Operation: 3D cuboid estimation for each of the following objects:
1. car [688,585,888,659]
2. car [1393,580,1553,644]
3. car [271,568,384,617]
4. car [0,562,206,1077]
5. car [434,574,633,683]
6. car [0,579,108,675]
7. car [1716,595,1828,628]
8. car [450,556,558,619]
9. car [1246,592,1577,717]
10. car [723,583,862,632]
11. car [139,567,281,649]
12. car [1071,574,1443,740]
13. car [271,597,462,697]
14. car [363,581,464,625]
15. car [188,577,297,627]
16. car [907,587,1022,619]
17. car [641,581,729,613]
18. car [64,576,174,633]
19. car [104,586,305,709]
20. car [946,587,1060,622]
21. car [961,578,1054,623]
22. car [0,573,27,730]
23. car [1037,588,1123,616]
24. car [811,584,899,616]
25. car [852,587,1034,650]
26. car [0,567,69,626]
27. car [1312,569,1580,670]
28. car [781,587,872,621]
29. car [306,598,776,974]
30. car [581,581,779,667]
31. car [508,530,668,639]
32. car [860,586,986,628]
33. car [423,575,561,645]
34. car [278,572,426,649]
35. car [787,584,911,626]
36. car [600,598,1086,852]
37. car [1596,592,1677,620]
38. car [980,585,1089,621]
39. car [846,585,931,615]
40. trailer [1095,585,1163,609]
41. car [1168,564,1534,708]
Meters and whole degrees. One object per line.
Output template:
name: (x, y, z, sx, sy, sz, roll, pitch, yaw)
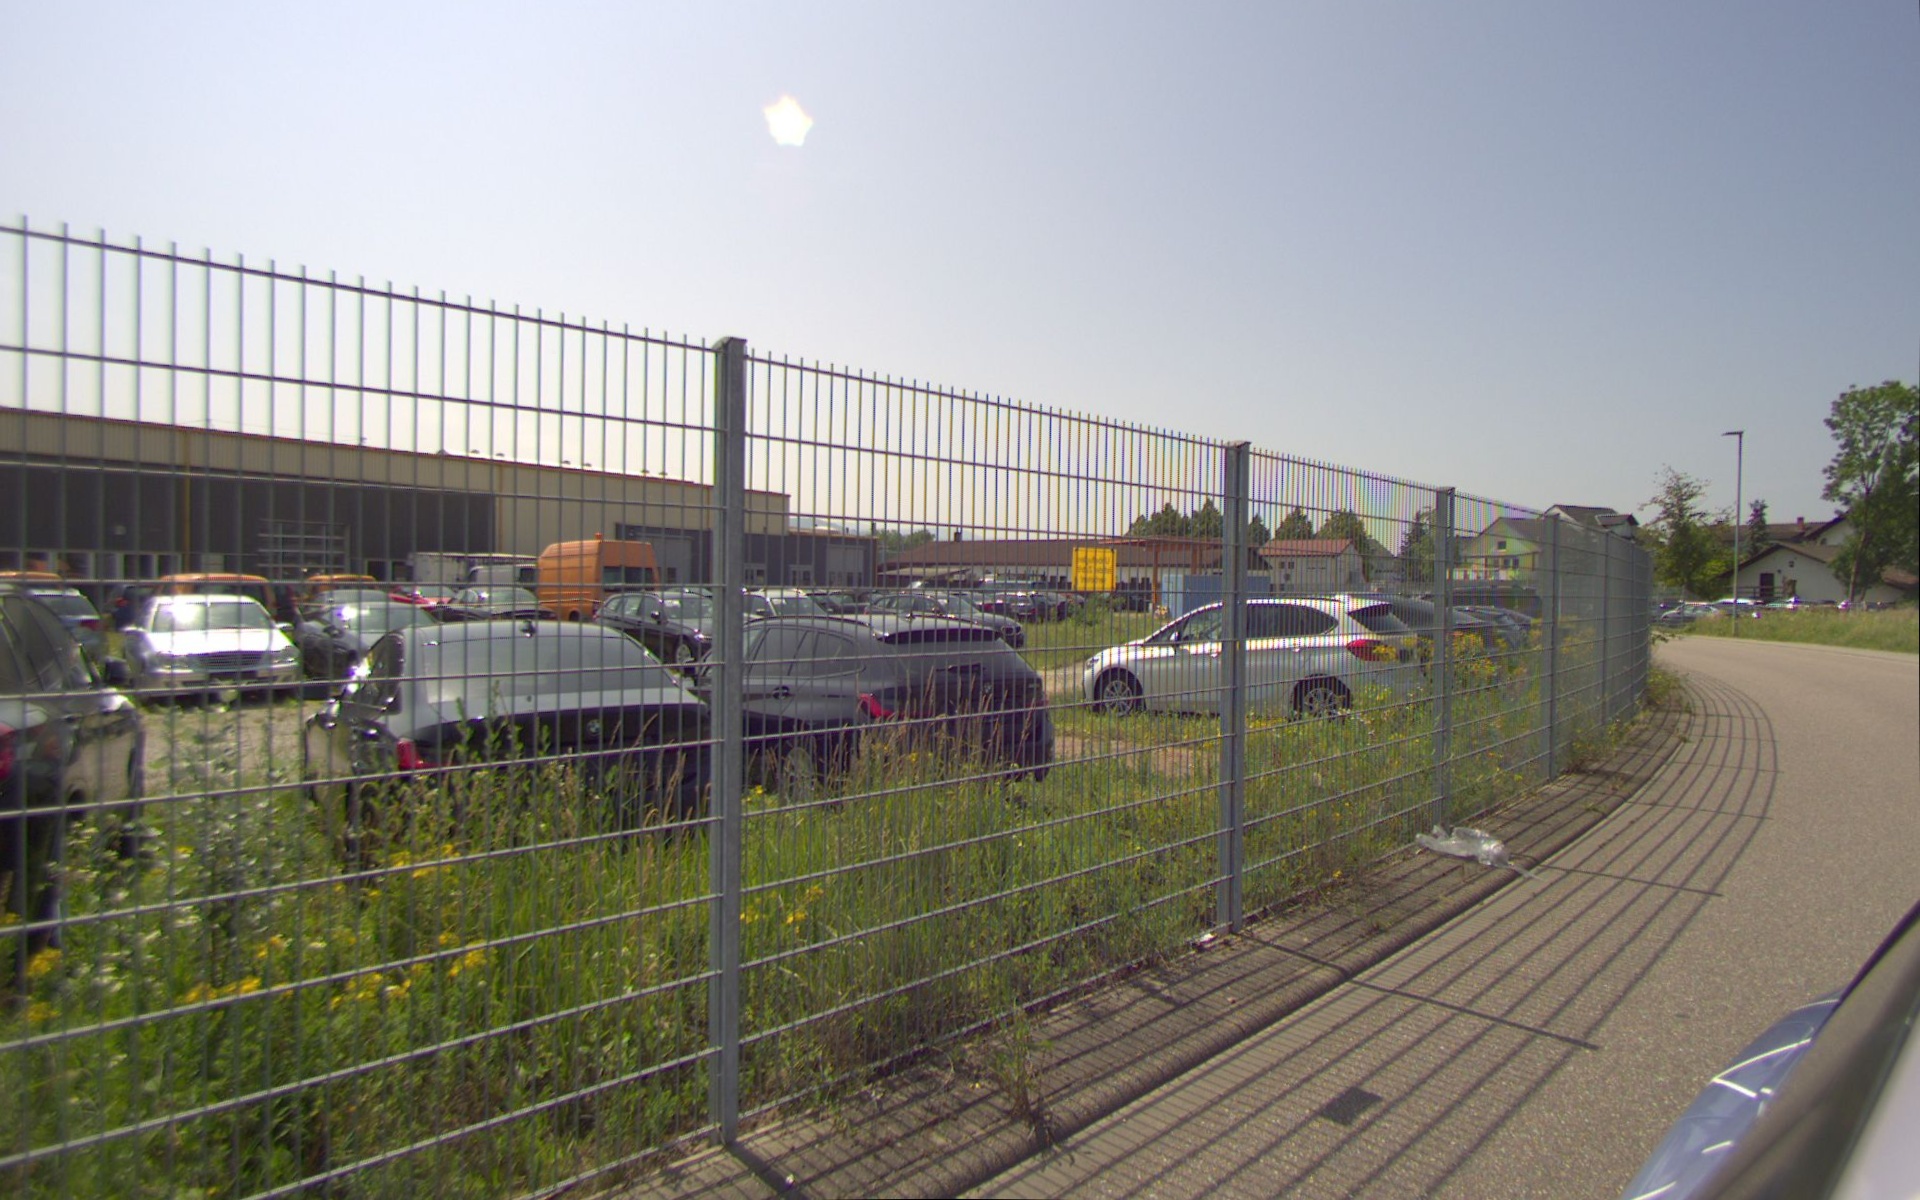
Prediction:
car: (-3.878, 0.418, 22.242, 4.742, 1.369, 1.794, 2, 1, 42)
car: (12.734, 0.255, 25.311, 3.441, 1.435, 1.503, 2, 1, 26)
car: (-21.433, -0.280, 34.243, 4.369, 1.504, 1.946, 2, 1, 40)
car: (-4.795, 0.656, 4.527, 1.729, 1.657, 4.300, 1, 1, -30)
car: (-7.976, 0.410, 18.778, 3.987, 1.738, 1.969, 2, 3, 44)
car: (-16.282, 0.401, 17.720, 3.815, 1.480, 1.565, 2, 1, 42)
car: (36.415, 0.493, 45.544, 1.552, 1.351, 4.403, 1, 1, 1)
car: (-17.218, -0.500, 38.132, 4.369, 2.199, 1.945, 2, 1, 40)
car: (7.013, 0.736, 16.009, 4.465, 1.602, 1.769, 2, 1, 41)
car: (-5.072, 0.180, 30.343, 4.373, 1.285, 1.794, 2, 1, 42)
car: (-15.193, 0.110, 20.435, 3.815, 1.480, 1.565, 2, 1, 42)
car: (3.580, 0.563, 12.621, 4.117, 1.690, 1.698, 2, 1, 40)
car: (-9.616, 0.673, 16.290, 3.759, 1.318, 1.587, 2, 1, 42)
car: (-19.645, 0.066, 36.288, 4.373, 1.395, 1.814, 2, 1, 42)
car: (-23.097, 0.031, 32.531, 3.983, 1.482, 1.971, 1, 1, 41)
car: (0.111, 0.077, 37.992, 4.373, 1.046, 1.594, 2, 1, 42)
car: (-12.568, -0.165, 46.203, 3.965, 1.349, 1.972, 1, 1, 39)
car: (-25.003, 0.084, 30.052, 4.369, 1.504, 1.728, 2, 1, 40)
car: (-10.842, 0.574, 14.436, 3.759, 1.455, 1.587, 2, 1, 42)
car: (1.672, 0.138, 40.160, 4.373, 1.221, 1.814, 2, 1, 42)
car: (2.287, -0.011, 49.595, 4.373, 2.006, 1.814, 2, 1, 42)
car: (-12.528, 0.513, 12.166, 1.847, 1.669, 4.466, 1, 1, -44)
car: (5.218, 0.073, 44.192, 3.362, 1.122, 1.646, 2, 1, 42)
car: (-5.163, -0.026, 49.569, 4.373, 1.395, 1.814, 2, 1, 42)
car: (-0.515, 0.413, 25.985, 4.742, 1.369, 1.794, 2, 1, 42)
car: (-26.229, -0.147, 27.984, 4.369, 1.504, 1.728, 2, 1, 40)
car: (9.710, 0.321, 20.460, 4.658, 1.791, 1.725, 2, 1, 29)
car: (-6.274, 0.158, 47.228, 4.373, 1.395, 1.814, 2, 1, 42)
car: (-2.902, 0.755, 6.327, 1.732, 1.395, 4.294, 1, 1, -36)
car: (-5.724, 0.406, 20.346, 4.559, 1.450, 1.637, 2, 1, 42)
car: (-9.838, -0.434, 26.568, 4.729, 2.617, 1.950, 2, 1, 42)
car: (-1.342, 0.209, 35.454, 4.373, 1.291, 1.850, 2, 1, 42)
car: (-11.014, 0.186, 23.725, 3.815, 1.480, 1.565, 2, 1, 42)
car: (-13.314, 0.182, 22.069, 3.815, 1.480, 1.729, 2, 1, 42)
car: (-3.689, 0.131, 33.121, 4.373, 1.198, 1.553, 2, 1, 42)
car: (-1.202, 0.752, 8.250, 1.734, 1.395, 4.347, 1, 1, -42)
car: (39.233, 0.325, 58.778, 1.549, 1.508, 3.654, 1, 1, -19)
car: (3.108, 0.092, 42.663, 4.373, 1.362, 1.814, 2, 1, 42)
car: (-3.685, -0.021, 51.611, 4.373, 1.395, 1.814, 2, 1, 42)
trailer: (12.100, -0.170, 72.514, 4.521, 1.586, 1.772, 2, -1, -22)
car: (5.310, 0.372, 14.197, 4.470, 1.690, 1.696, 2, 1, 44)
